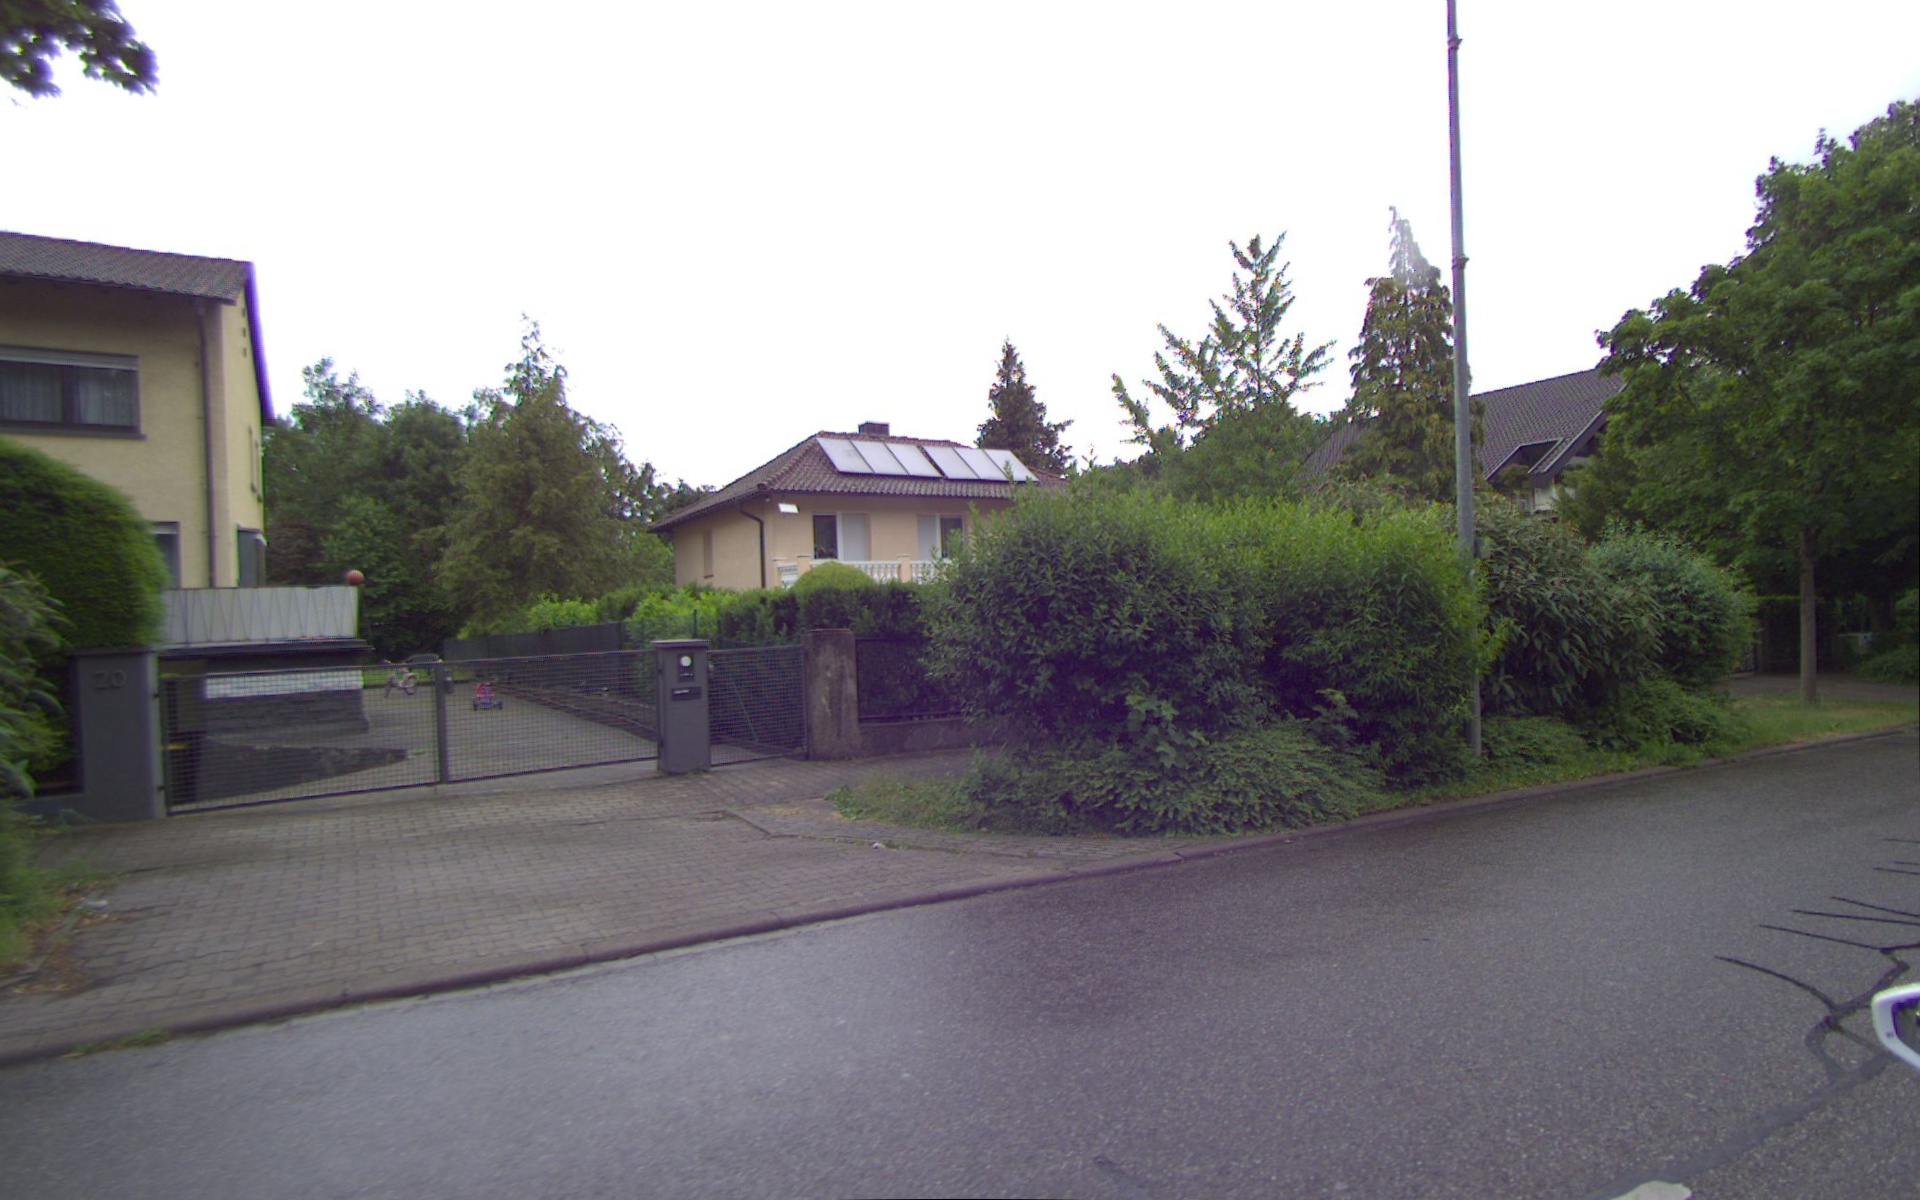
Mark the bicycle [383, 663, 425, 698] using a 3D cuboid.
[{"bbox_3d":[-14.789,2.129,26.716,0.359,0.882,0.981,-1,-1,19],"label":"bicycle"}]

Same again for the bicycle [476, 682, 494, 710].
[{"bbox_3d":[-9.772,1.966,20.662,0.291,0.524,0.803,0,-2,-30],"label":"bicycle"}]
